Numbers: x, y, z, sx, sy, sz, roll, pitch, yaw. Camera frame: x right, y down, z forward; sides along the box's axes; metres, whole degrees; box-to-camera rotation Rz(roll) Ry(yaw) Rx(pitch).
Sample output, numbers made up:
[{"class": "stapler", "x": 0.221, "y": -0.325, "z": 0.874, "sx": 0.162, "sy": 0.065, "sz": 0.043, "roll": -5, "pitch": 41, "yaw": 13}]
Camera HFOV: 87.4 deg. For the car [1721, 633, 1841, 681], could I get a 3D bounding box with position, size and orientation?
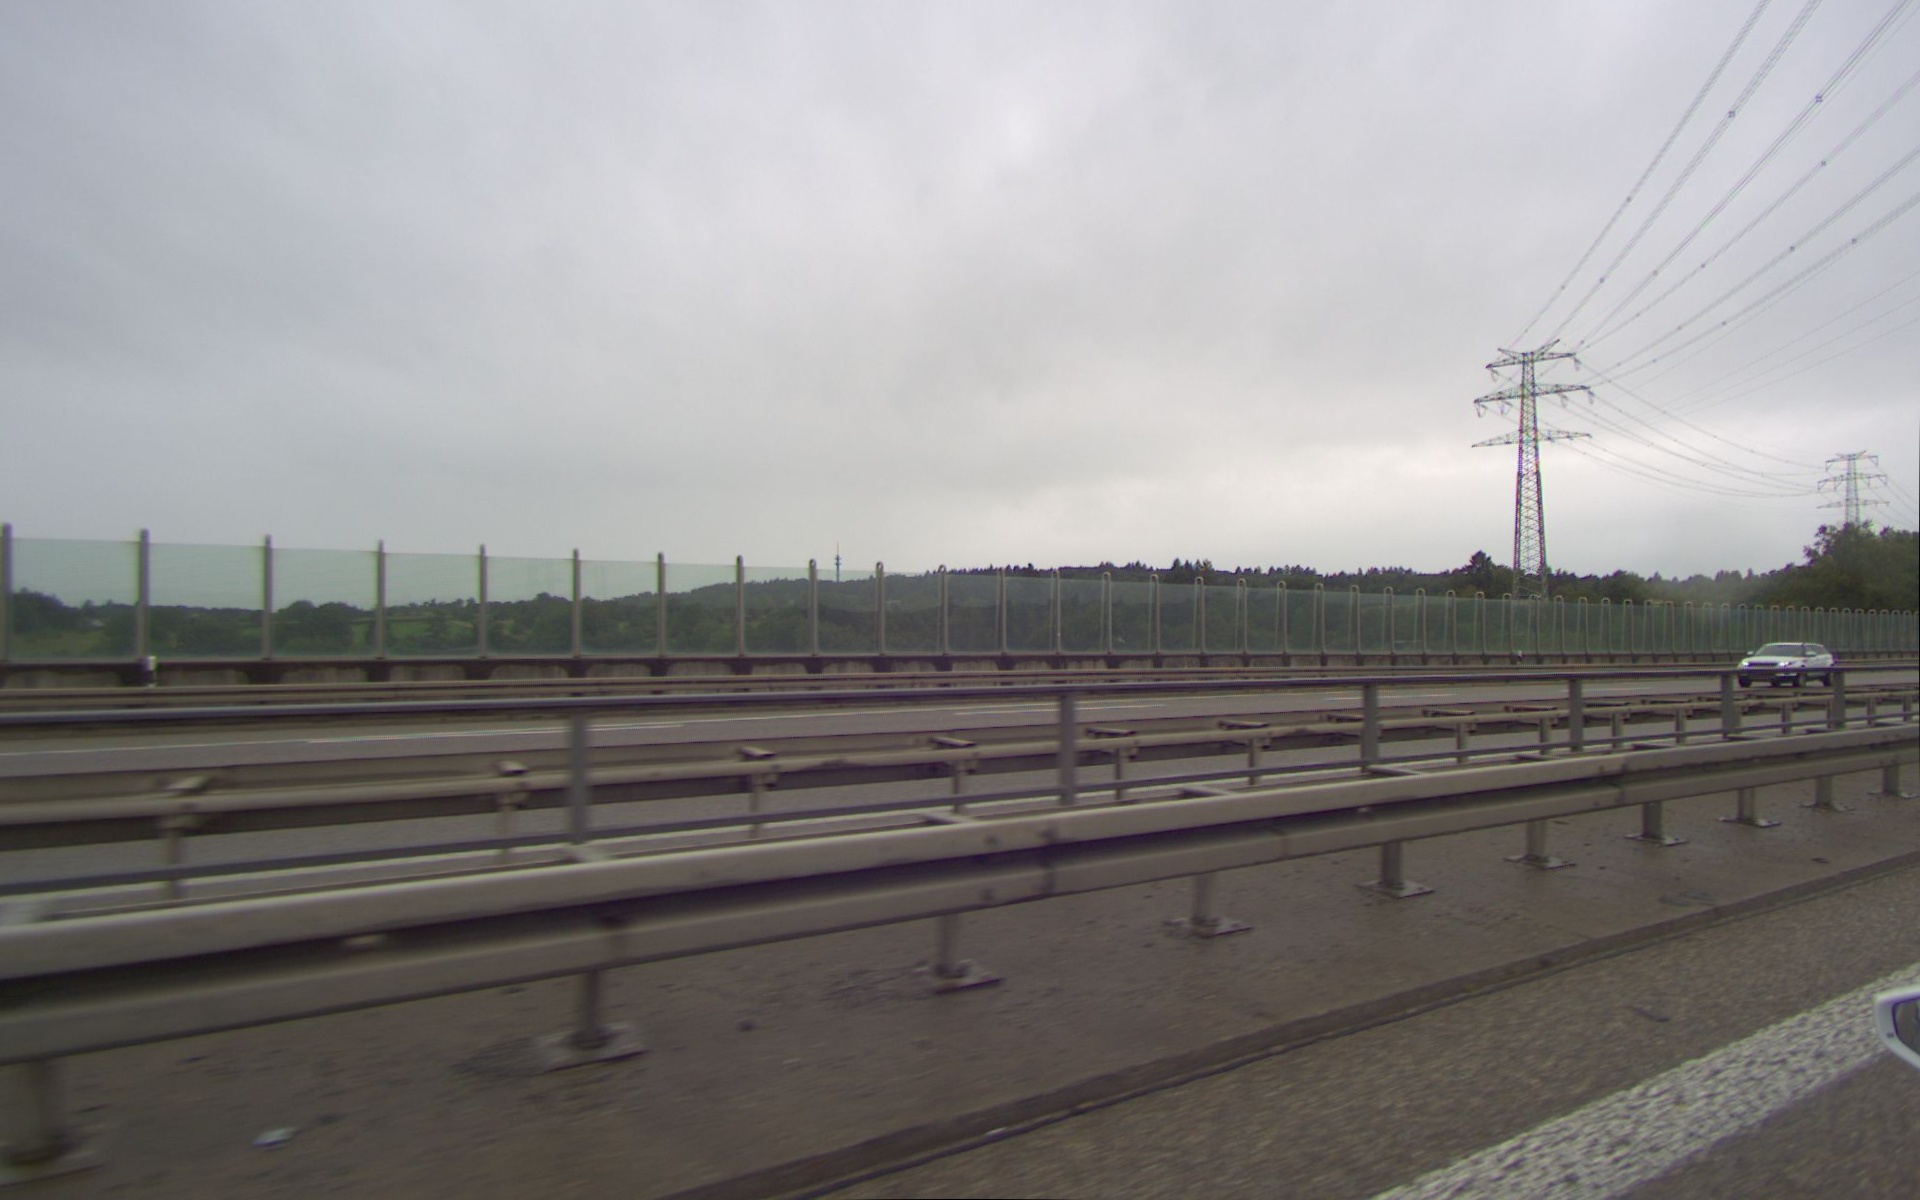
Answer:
[{"class": "car", "x": 30.488, "y": 2.064, "z": 37.263, "sx": 4.659, "sy": 1.651, "sz": 1.984, "roll": 1, "pitch": -2, "yaw": -31}]
